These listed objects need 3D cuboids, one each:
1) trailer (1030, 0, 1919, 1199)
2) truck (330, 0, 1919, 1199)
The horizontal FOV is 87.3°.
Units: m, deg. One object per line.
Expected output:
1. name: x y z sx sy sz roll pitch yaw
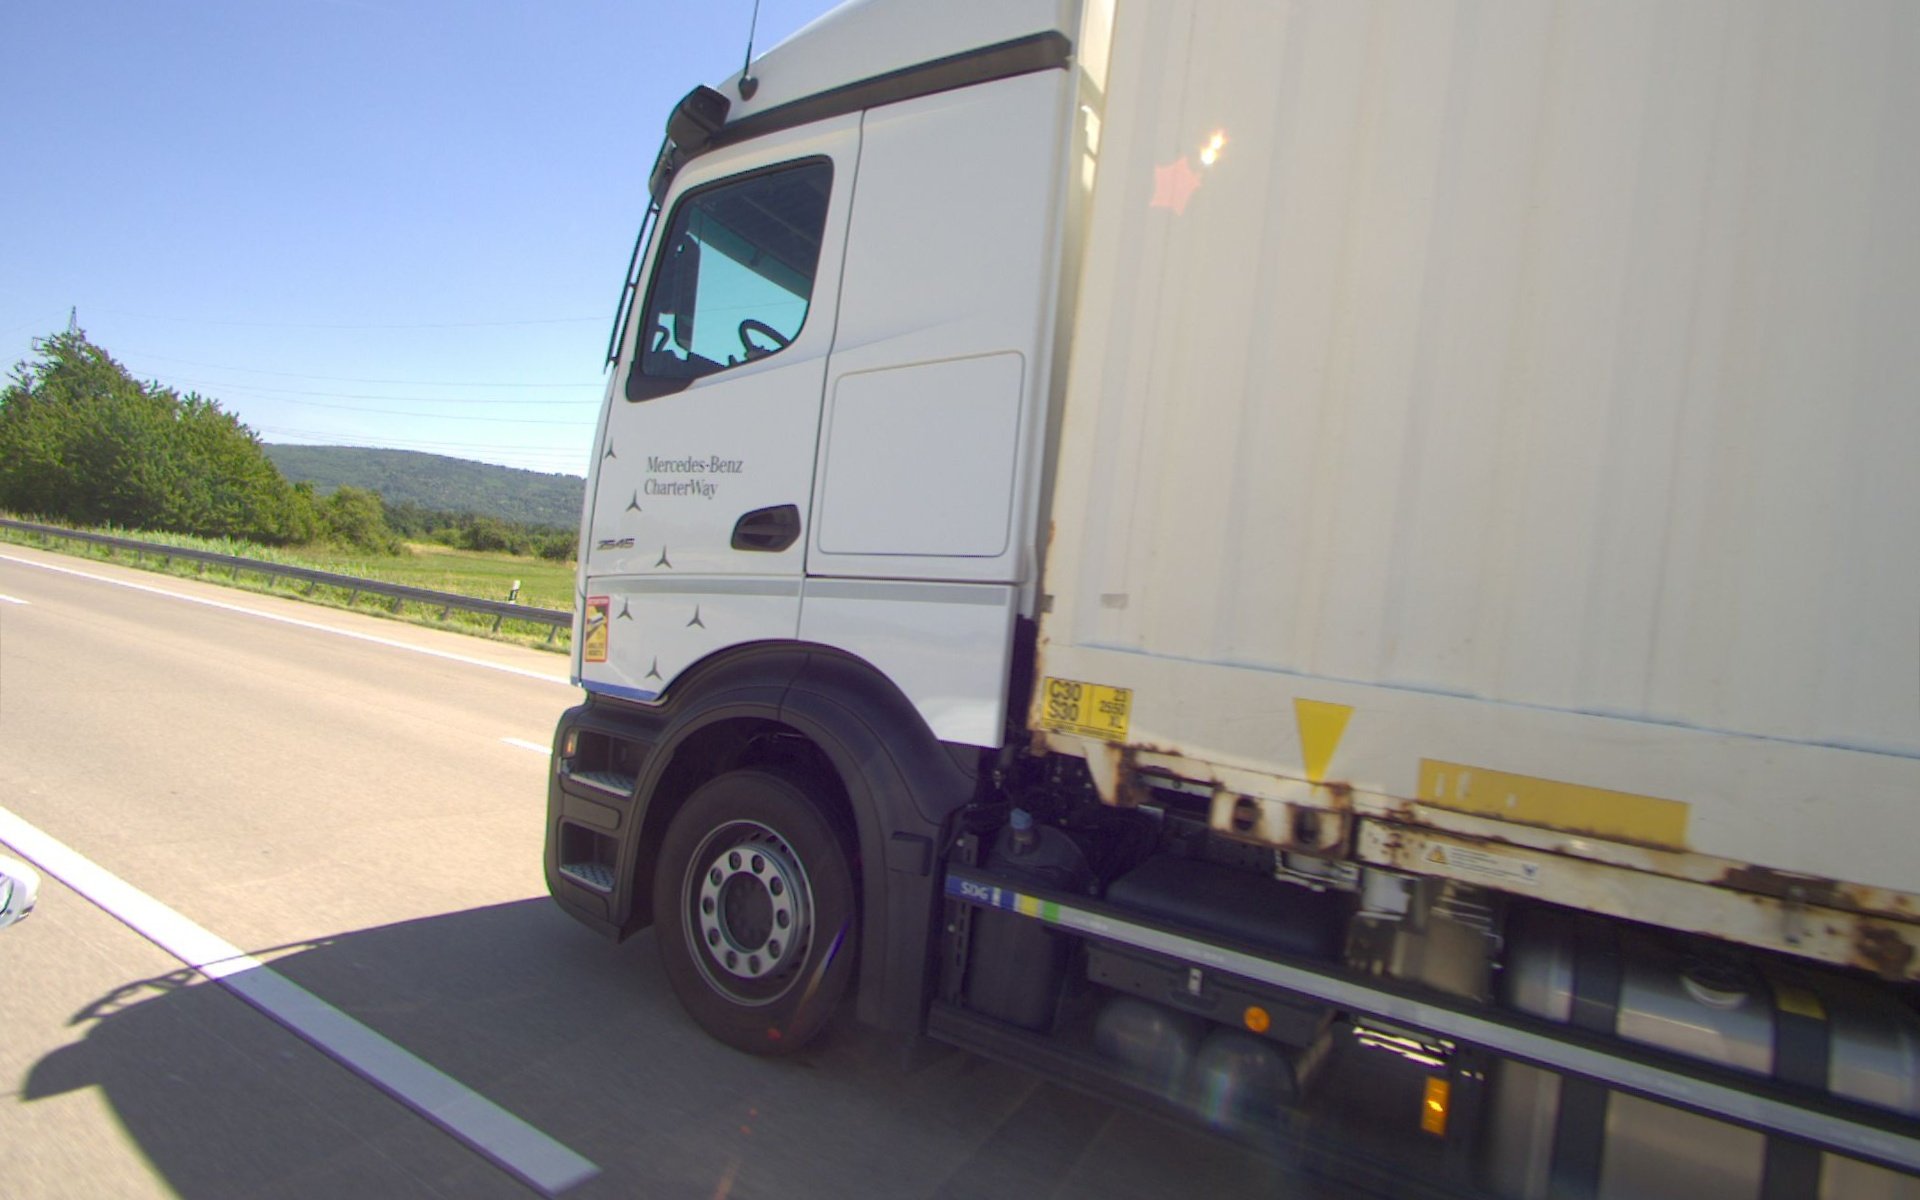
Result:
1. trailer: 5.408 0.223 1.051 10.199 3.923 2.586 7 -1 31
2. truck: 0.306 -0.374 4.137 4.900 3.923 2.586 7 -1 31
